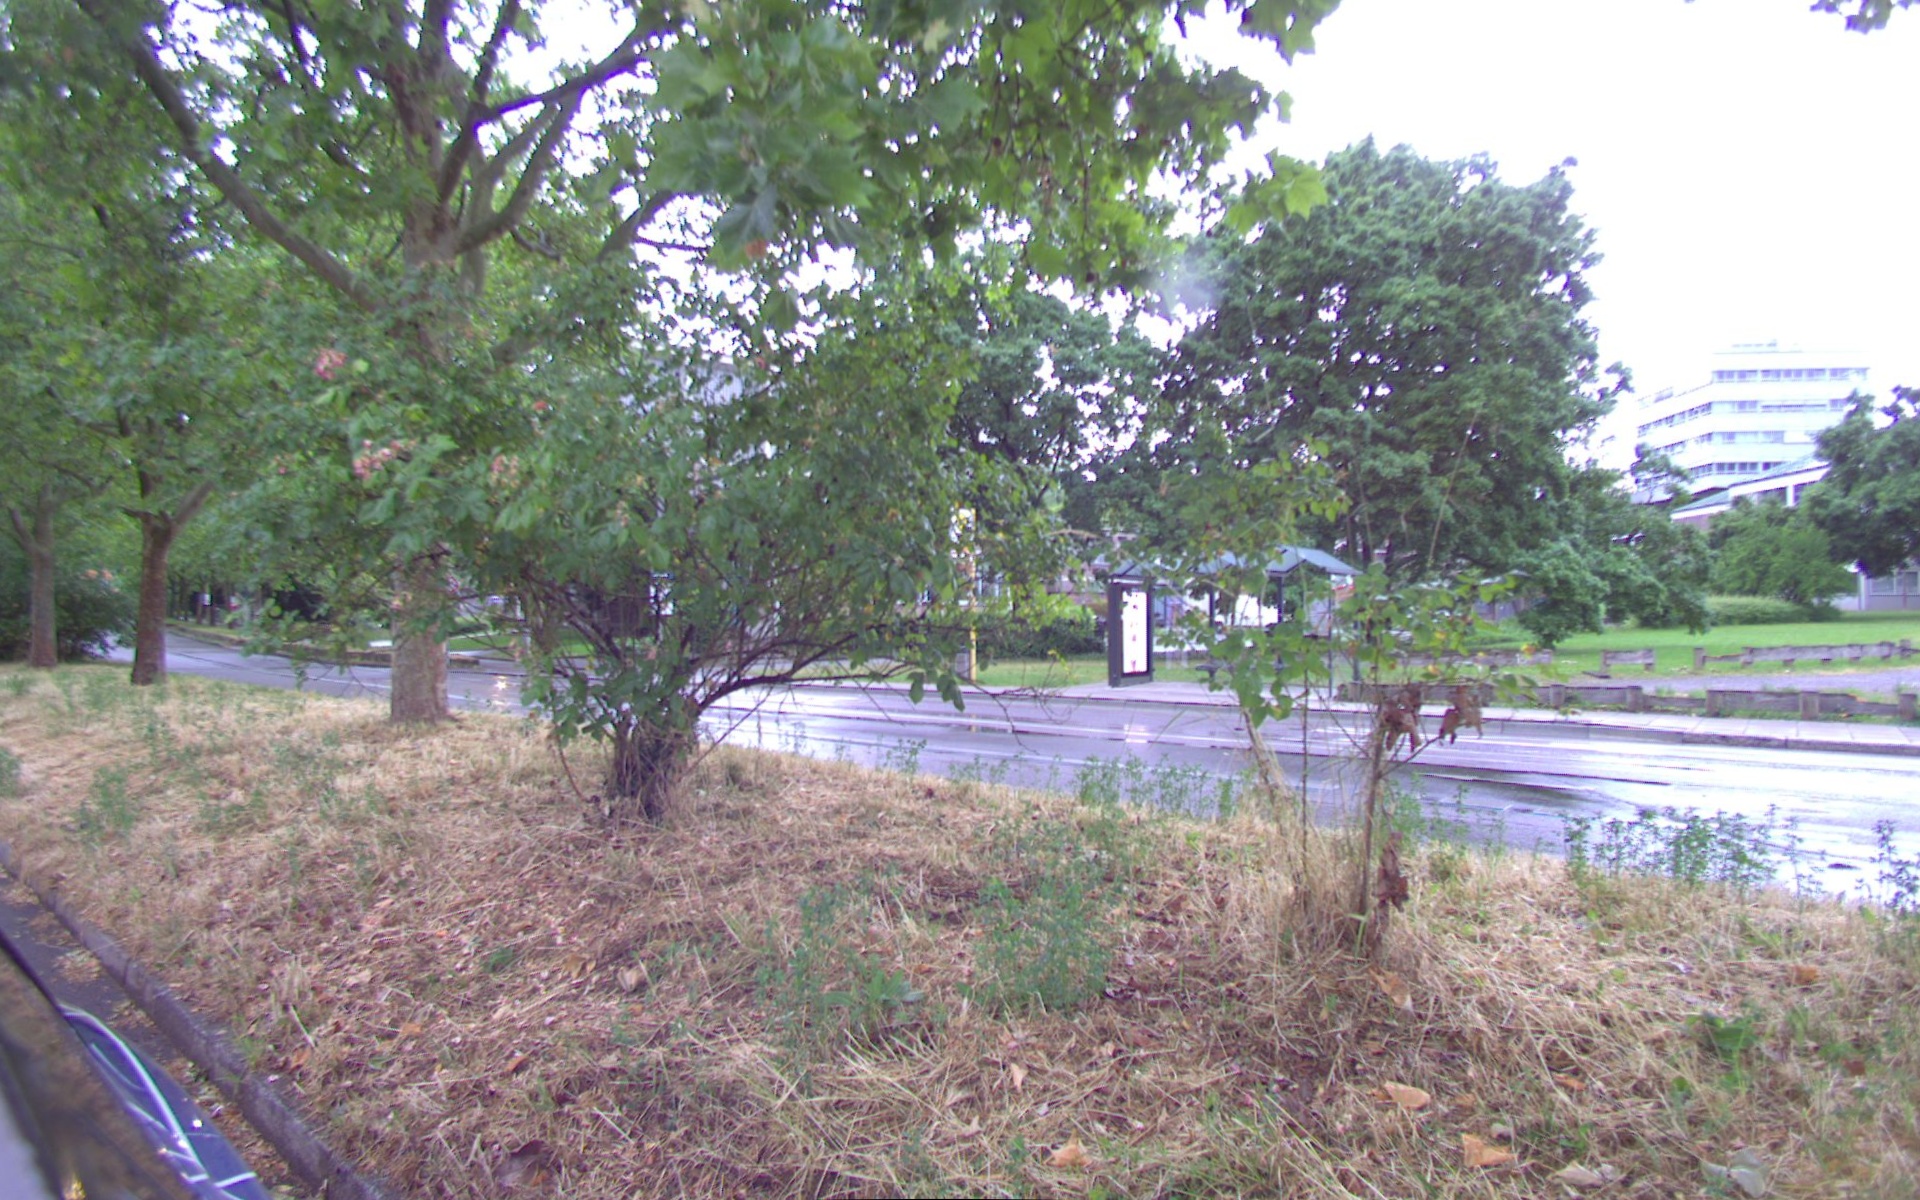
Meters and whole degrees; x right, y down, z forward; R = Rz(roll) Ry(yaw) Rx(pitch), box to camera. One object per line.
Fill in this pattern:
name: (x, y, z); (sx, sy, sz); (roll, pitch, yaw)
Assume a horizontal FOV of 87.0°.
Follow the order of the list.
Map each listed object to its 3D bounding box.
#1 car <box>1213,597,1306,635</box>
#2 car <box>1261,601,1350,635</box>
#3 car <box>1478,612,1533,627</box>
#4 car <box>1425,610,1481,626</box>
car: (18.549, 0.938, 62.910); (2.080, 2.229, 5.482); (-1, 1, -33)
car: (22.231, 1.133, 65.250); (2.251, 2.037, 5.091); (-1, 1, -36)
car: (43.959, 1.563, 81.599); (1.566, 1.151, 3.564); (-1, 1, -37)
car: (37.725, 1.384, 77.475); (1.566, 1.151, 3.564); (-1, 1, -37)
